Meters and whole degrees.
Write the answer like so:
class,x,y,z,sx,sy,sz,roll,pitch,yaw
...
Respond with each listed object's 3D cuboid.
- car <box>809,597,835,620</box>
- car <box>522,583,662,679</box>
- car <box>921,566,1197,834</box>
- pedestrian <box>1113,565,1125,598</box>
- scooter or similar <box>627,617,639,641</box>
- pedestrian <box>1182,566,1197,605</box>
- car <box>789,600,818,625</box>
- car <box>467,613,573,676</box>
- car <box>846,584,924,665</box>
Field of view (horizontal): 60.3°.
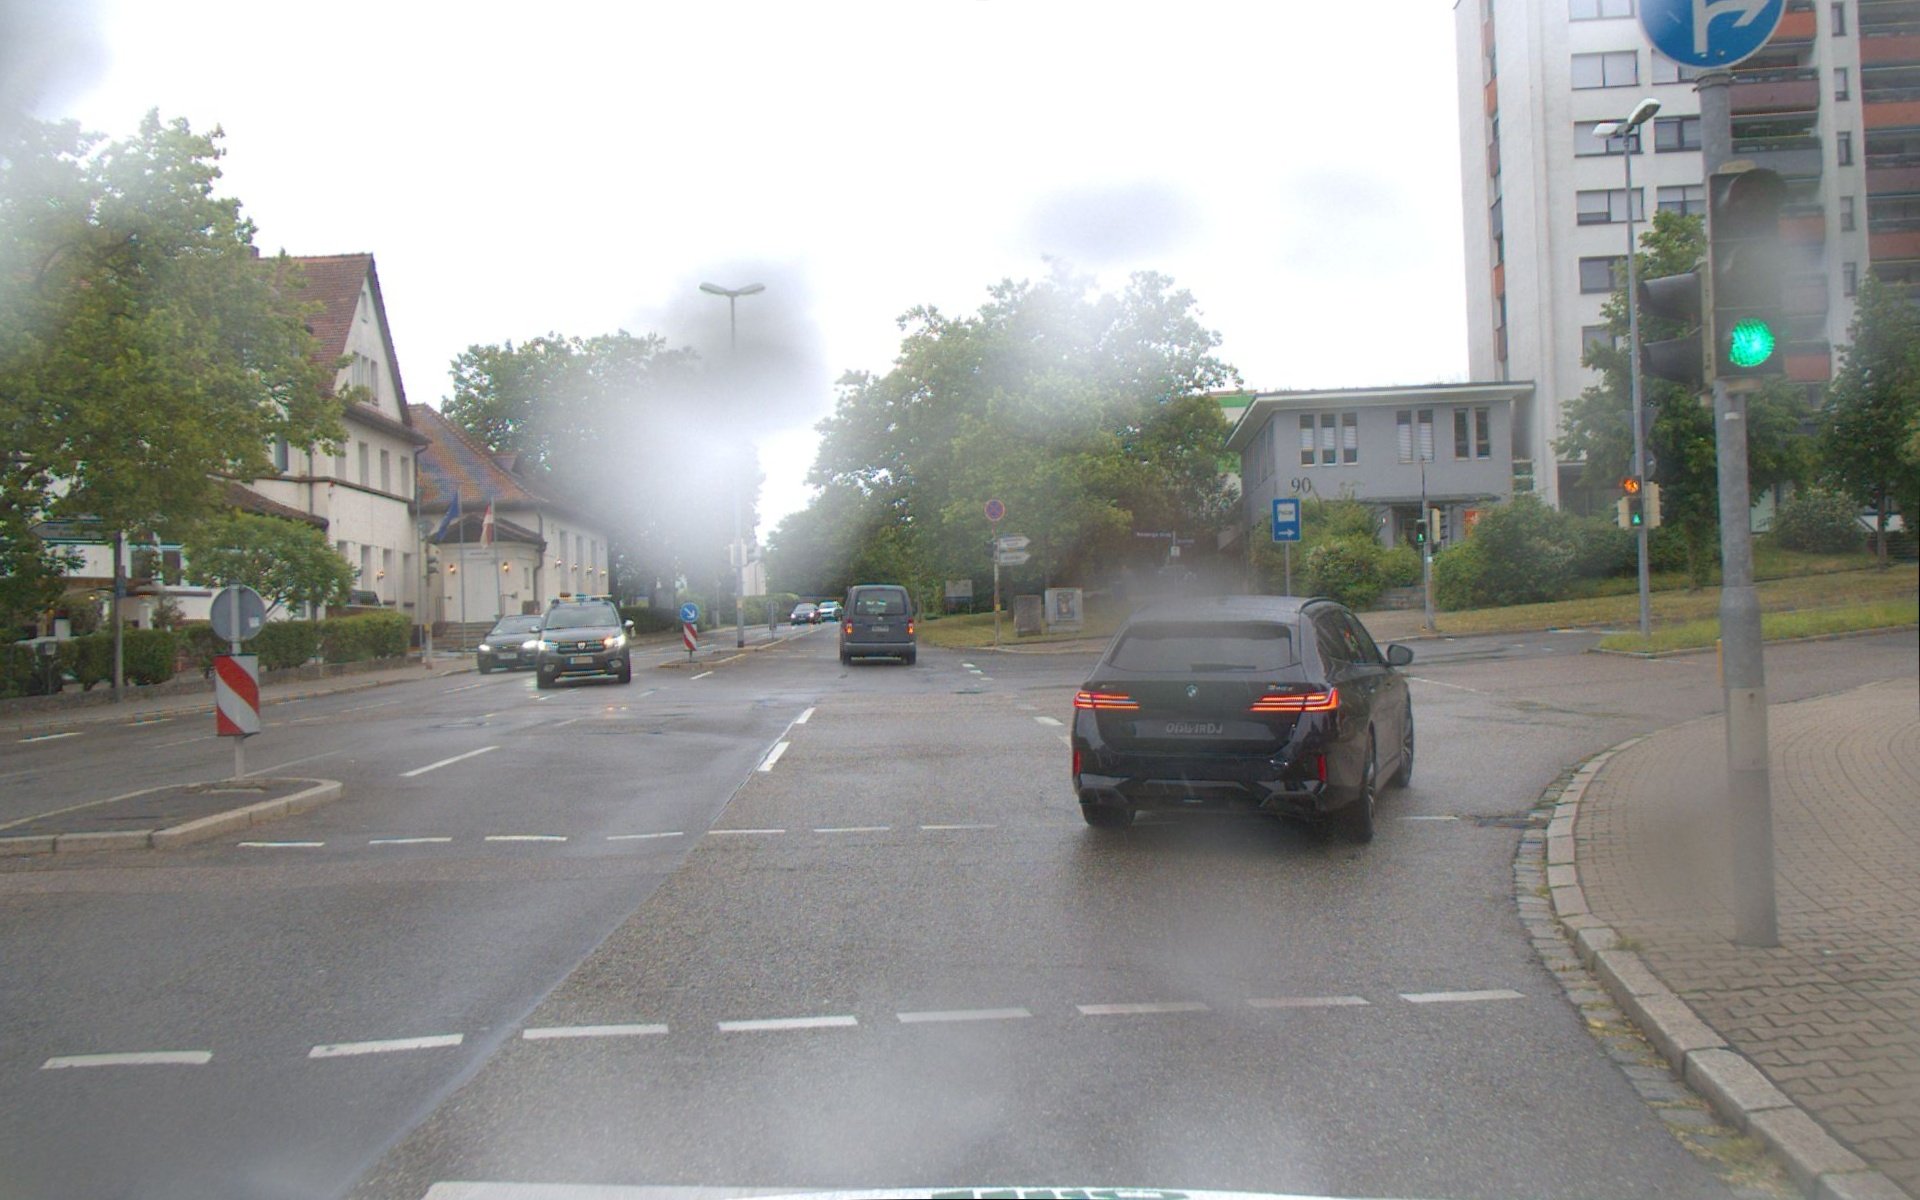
class,x,y,z,sx,sy,sz,roll,pitch,yaw
car,-10.935,0.658,131.382,1.793,1.700,4.049,-2,1,-3
car,-6.933,0.524,31.599,1.861,1.604,4.499,-2,1,-4
car,0.543,0.594,11.486,1.494,1.561,3.529,0,0,-4
pedestrian,8.778,-1.024,91.264,0.546,1.794,0.727,0,-1,-5
scooter or similar,-15.049,1.326,76.180,0.382,1.083,1.409,0,0,-5
pedestrian,9.693,-0.621,69.864,0.588,1.645,0.526,0,-1,6
car,-10.884,0.858,115.267,1.757,1.554,4.207,-2,1,-3
car,-11.758,1.156,44.479,1.871,1.452,4.412,-2,1,-4
car,-1.818,0.560,39.490,1.776,1.840,3.754,0,0,-4
